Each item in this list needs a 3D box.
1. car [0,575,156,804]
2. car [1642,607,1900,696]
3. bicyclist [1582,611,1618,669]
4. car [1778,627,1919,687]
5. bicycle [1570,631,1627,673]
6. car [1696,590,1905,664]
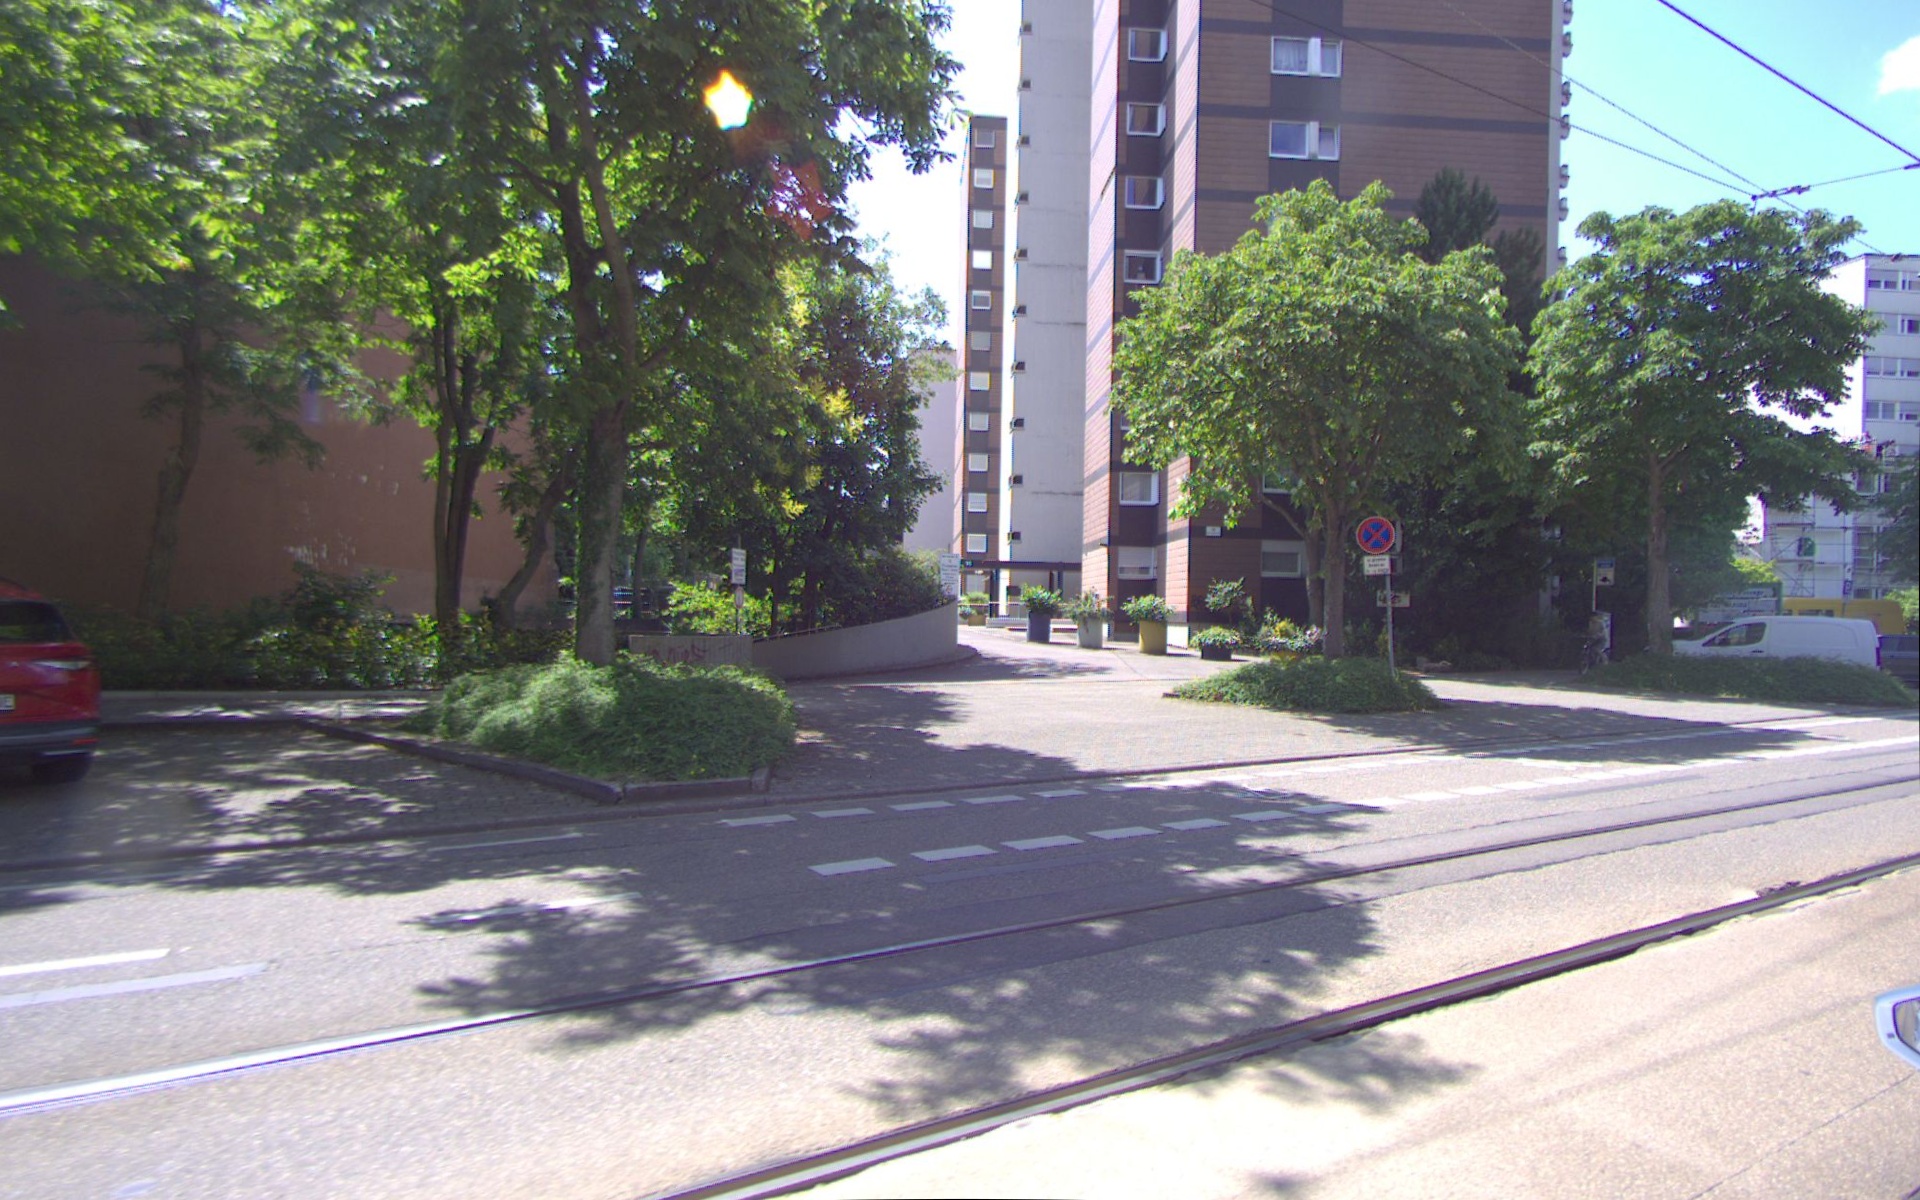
[{"bbox_3d":[-8.696,0.572,8.117,4.697,1.587,1.997,1,0,32],"label":"car"},{"bbox_3d":[19.268,1.165,24.168,4.465,1.815,1.898,2,1,28],"label":"car"},{"bbox_3d":[16.905,1.044,26.536,0.772,1.501,0.478,1,1,-32],"label":"bicyclist"},{"bbox_3d":[25.298,1.567,27.321,4.361,1.413,1.772,2,1,22],"label":"car"},{"bbox_3d":[16.864,1.360,26.522,1.856,1.061,0.515,1,1,-33],"label":"bicycle"},{"bbox_3d":[34.046,1.068,40.826,6.592,2.599,2.185,3,0,0],"label":"car"}]
